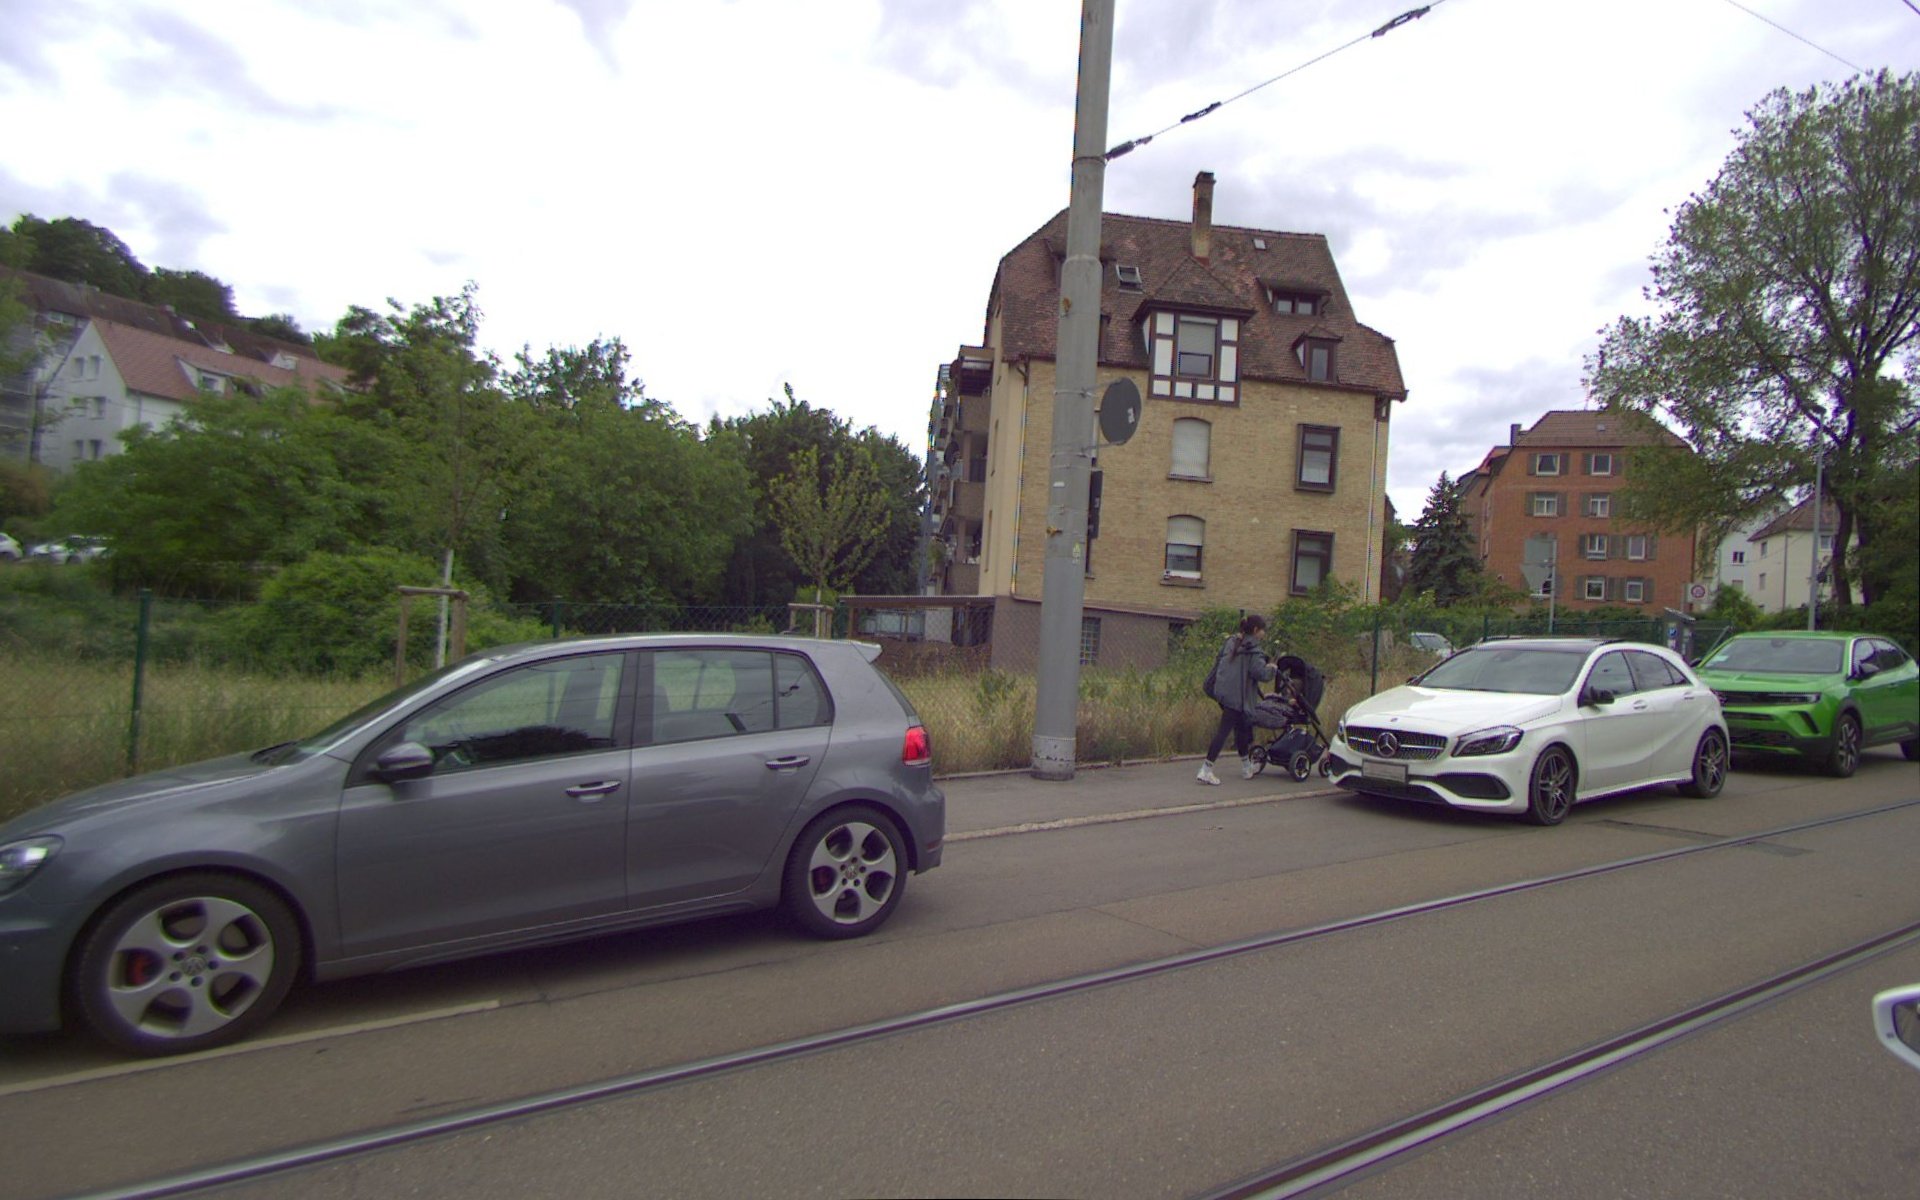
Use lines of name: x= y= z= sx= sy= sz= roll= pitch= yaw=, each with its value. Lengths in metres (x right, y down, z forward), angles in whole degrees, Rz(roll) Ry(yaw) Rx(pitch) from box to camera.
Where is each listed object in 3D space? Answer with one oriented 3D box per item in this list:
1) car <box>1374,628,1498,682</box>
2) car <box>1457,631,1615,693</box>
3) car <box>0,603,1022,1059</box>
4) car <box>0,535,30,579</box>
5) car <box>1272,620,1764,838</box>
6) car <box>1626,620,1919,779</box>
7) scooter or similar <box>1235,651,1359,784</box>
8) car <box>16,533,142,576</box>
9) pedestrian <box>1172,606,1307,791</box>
car: x=15.587 y=1.758 z=33.147 sx=1.962 sy=1.514 sz=3.998 roll=2 pitch=0 yaw=-4
car: x=15.769 y=1.654 z=27.773 sx=1.854 sy=1.437 sz=3.998 roll=2 pitch=0 yaw=-4
car: x=-2.058 y=0.789 z=4.919 sx=4.459 sy=1.451 sz=1.887 roll=1 pitch=-2 yaw=-31
car: x=-41.399 y=-1.892 z=41.209 sx=1.863 sy=1.812 sz=4.487 roll=2 pitch=0 yaw=9
car: x=5.161 y=1.003 z=9.120 sx=4.610 sy=1.546 sz=1.876 roll=2 pitch=-2 yaw=-31
car: x=9.875 y=1.068 z=11.901 sx=4.132 sy=1.600 sz=1.715 roll=2 pitch=-2 yaw=-31
scooter or similar: x=3.366 y=1.146 z=10.060 sx=0.830 sy=1.212 sz=0.800 roll=2 pitch=0 yaw=-32
car: x=-40.622 y=-2.076 z=46.453 sx=1.800 sy=1.680 sz=4.135 roll=2 pitch=0 yaw=9
pedestrian: x=2.660 y=0.901 z=9.582 sx=0.906 sy=1.650 sz=0.800 roll=2 pitch=0 yaw=-32
